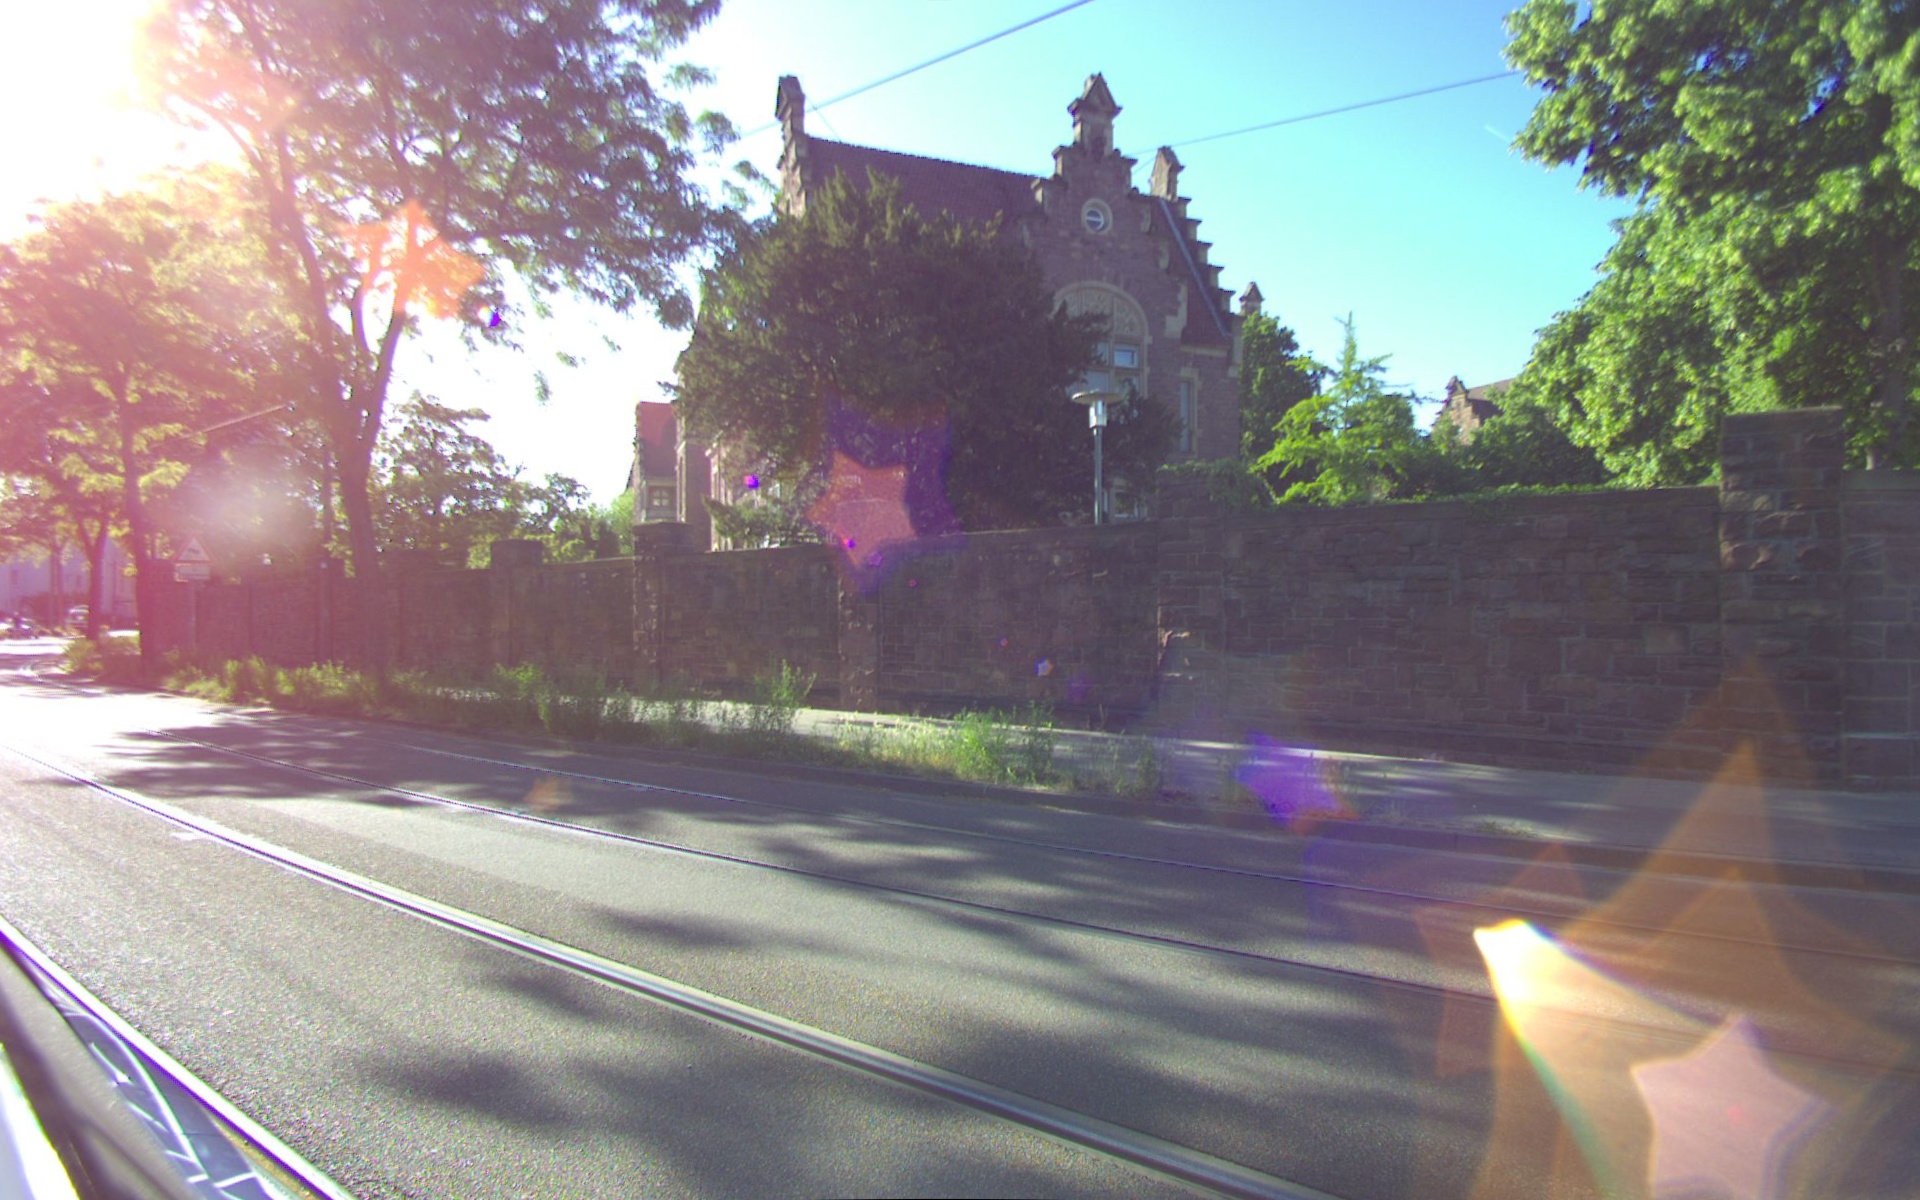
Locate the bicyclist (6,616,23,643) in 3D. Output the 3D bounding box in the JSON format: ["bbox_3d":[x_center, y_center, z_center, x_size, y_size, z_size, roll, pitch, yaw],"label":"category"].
[{"bbox_3d":[-58.722,1.805,62.870,0.633,1.653,0.667,-1,0,-31],"label":"bicyclist"}]

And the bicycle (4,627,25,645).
[{"bbox_3d":[-58.735,2.220,62.879,0.579,1.120,1.861,0,-1,-30],"label":"bicycle"}]

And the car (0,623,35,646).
[{"bbox_3d":[-68.885,2.509,73.852,1.969,1.560,4.005,0,-1,-41],"label":"car"}]
